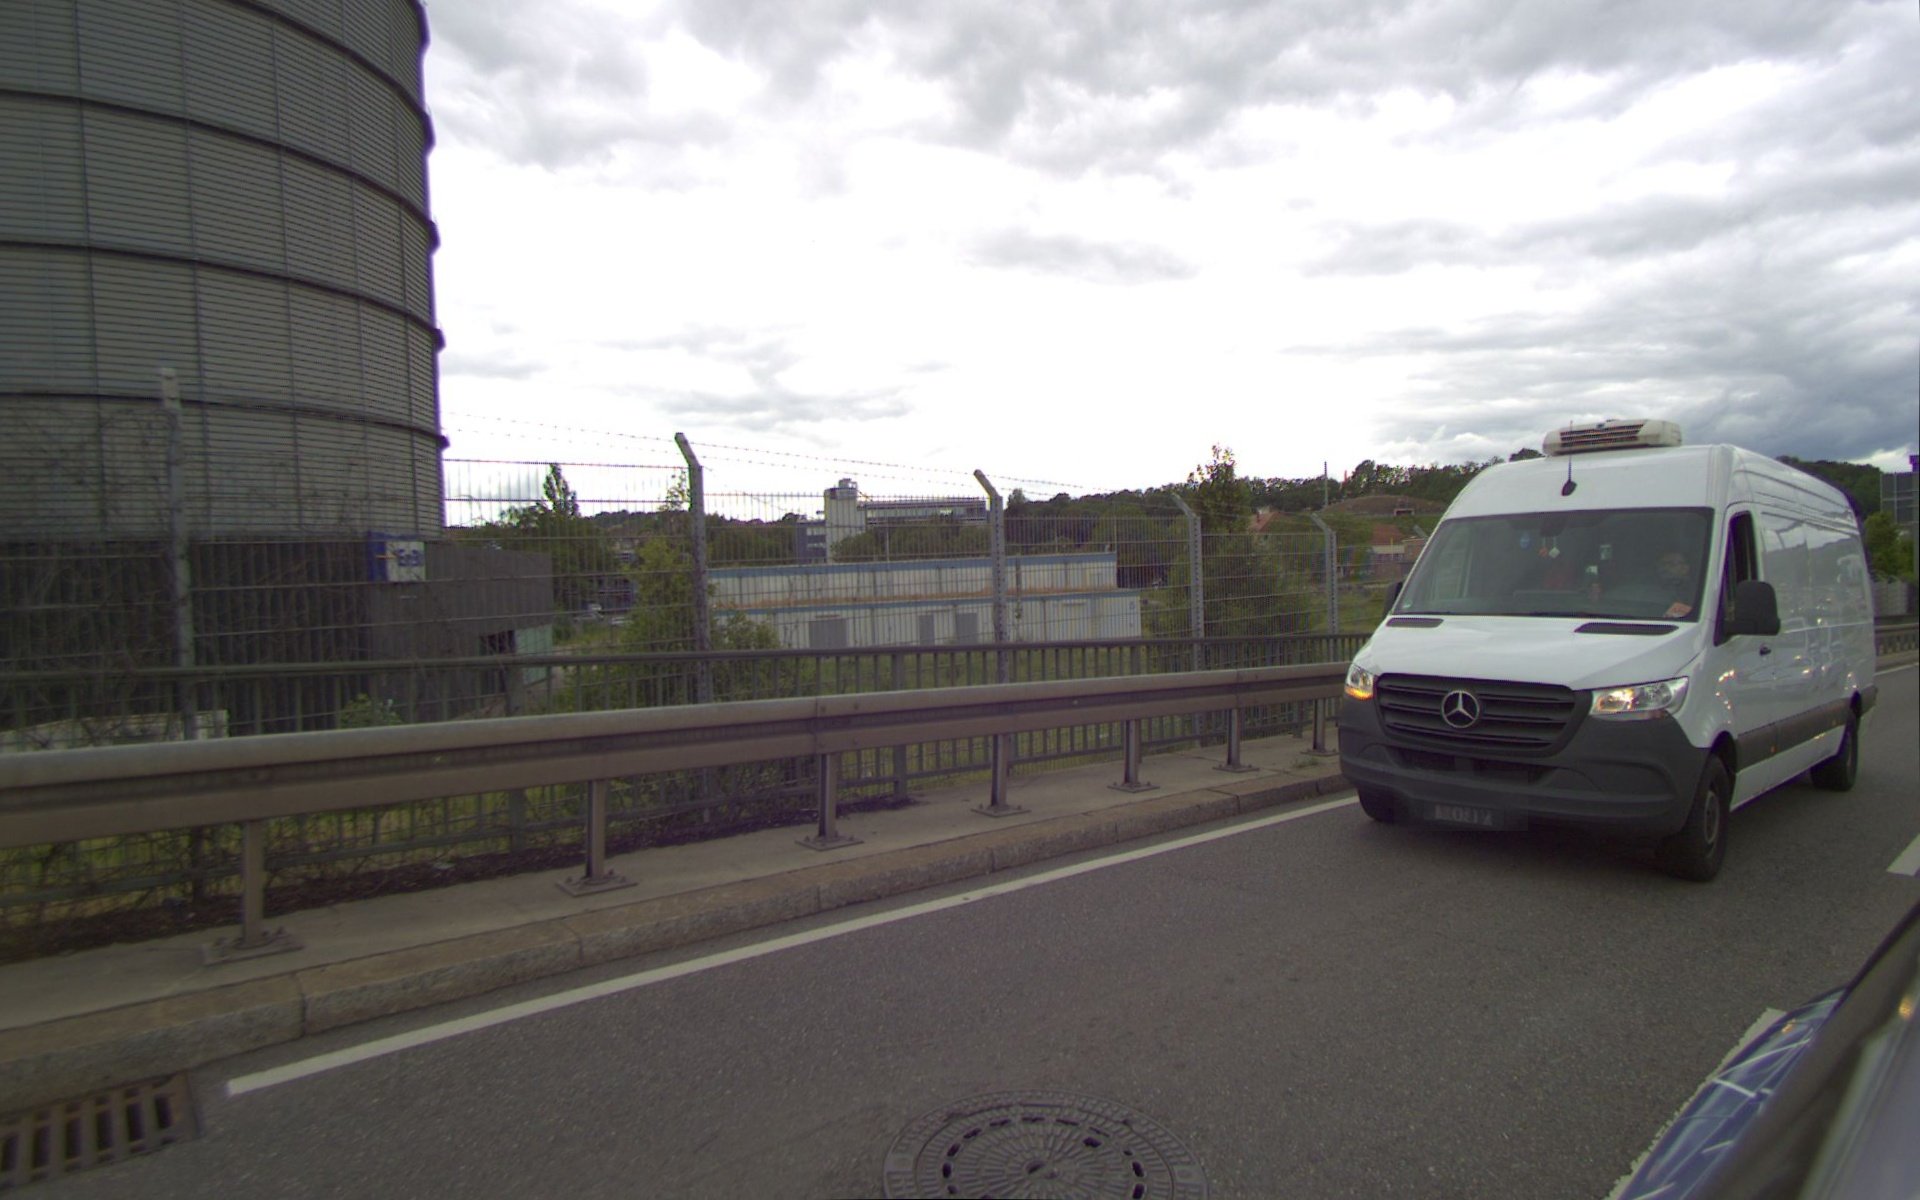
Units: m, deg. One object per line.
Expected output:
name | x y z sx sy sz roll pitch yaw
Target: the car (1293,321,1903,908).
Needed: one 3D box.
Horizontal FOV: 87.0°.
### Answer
car | 5.339 0.038 7.832 6.660 2.818 2.114 0 0 -40
